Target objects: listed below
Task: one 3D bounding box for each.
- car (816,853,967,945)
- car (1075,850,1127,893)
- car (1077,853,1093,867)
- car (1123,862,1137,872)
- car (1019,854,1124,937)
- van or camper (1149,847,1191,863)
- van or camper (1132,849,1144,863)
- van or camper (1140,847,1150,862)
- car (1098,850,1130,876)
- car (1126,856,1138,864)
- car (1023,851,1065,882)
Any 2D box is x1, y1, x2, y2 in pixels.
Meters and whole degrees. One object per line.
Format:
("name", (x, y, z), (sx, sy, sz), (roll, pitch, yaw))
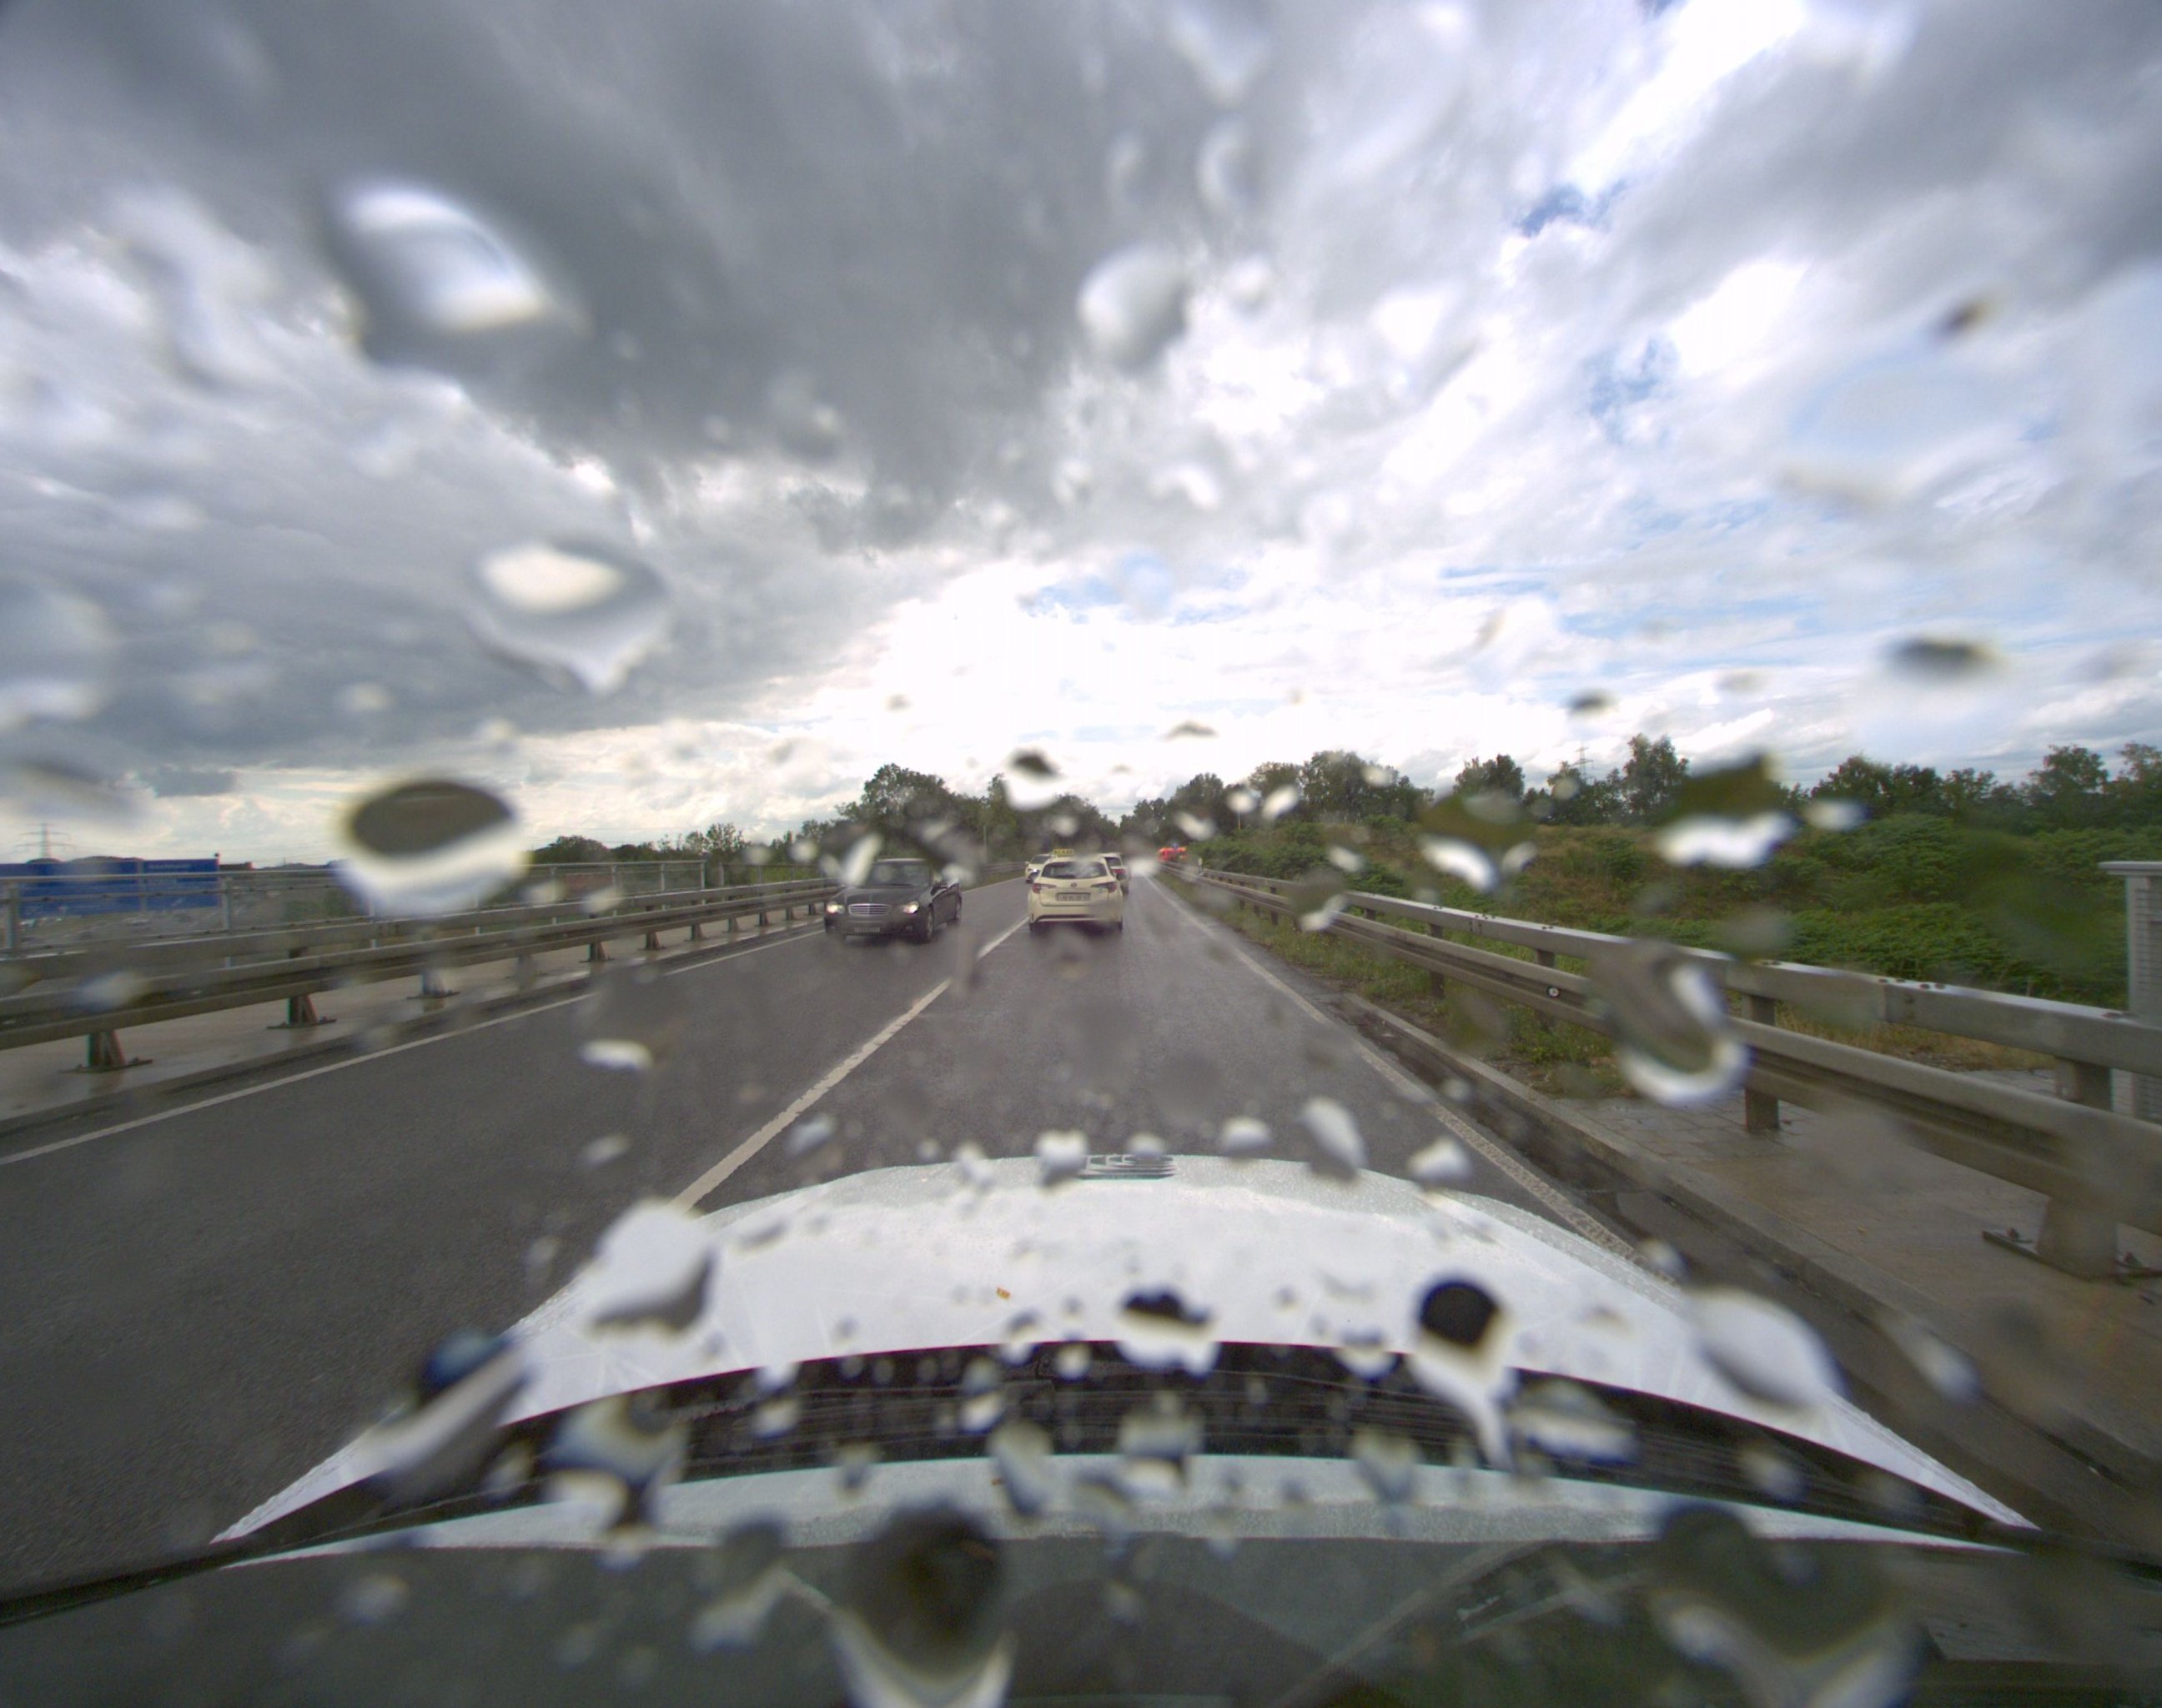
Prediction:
("car", (-3.354, 0.724, 15.250), (1.690, 1.432, 4.325), (0, 0, 1))
("car", (0.775, 0.612, 30.923), (1.847, 1.443, 4.173), (0, 1, 2))
("car", (0.486, 0.703, 98.759), (1.773, 1.561, 4.304), (0, 0, 2))
("car", (7.117, 1.874, 118.000), (1.845, 1.443, 4.177), (0, 0, 6))
("car", (-0.094, 0.732, 16.549), (1.847, 1.394, 4.173), (0, 1, 2))
("van or camper", (12.716, 0.093, 116.118), (5.683, 2.241, 2.011), (0, 0, -13))
("van or camper", (11.550, 0.394, 166.411), (2.323, 2.864, 6.312), (0, 0, 3))
("van or camper", (15.360, -0.004, 196.443), (2.323, 3.562, 6.312), (0, 0, 3))
("car", (1.946, 0.507, 48.580), (1.847, 1.443, 4.173), (0, 1, 2))
("car", (8.998, 1.021, 143.600), (1.845, 1.443, 4.177), (0, 0, 6))
("car", (-1.898, 0.604, 42.868), (1.803, 1.509, 4.614), (0, 0, 2))
